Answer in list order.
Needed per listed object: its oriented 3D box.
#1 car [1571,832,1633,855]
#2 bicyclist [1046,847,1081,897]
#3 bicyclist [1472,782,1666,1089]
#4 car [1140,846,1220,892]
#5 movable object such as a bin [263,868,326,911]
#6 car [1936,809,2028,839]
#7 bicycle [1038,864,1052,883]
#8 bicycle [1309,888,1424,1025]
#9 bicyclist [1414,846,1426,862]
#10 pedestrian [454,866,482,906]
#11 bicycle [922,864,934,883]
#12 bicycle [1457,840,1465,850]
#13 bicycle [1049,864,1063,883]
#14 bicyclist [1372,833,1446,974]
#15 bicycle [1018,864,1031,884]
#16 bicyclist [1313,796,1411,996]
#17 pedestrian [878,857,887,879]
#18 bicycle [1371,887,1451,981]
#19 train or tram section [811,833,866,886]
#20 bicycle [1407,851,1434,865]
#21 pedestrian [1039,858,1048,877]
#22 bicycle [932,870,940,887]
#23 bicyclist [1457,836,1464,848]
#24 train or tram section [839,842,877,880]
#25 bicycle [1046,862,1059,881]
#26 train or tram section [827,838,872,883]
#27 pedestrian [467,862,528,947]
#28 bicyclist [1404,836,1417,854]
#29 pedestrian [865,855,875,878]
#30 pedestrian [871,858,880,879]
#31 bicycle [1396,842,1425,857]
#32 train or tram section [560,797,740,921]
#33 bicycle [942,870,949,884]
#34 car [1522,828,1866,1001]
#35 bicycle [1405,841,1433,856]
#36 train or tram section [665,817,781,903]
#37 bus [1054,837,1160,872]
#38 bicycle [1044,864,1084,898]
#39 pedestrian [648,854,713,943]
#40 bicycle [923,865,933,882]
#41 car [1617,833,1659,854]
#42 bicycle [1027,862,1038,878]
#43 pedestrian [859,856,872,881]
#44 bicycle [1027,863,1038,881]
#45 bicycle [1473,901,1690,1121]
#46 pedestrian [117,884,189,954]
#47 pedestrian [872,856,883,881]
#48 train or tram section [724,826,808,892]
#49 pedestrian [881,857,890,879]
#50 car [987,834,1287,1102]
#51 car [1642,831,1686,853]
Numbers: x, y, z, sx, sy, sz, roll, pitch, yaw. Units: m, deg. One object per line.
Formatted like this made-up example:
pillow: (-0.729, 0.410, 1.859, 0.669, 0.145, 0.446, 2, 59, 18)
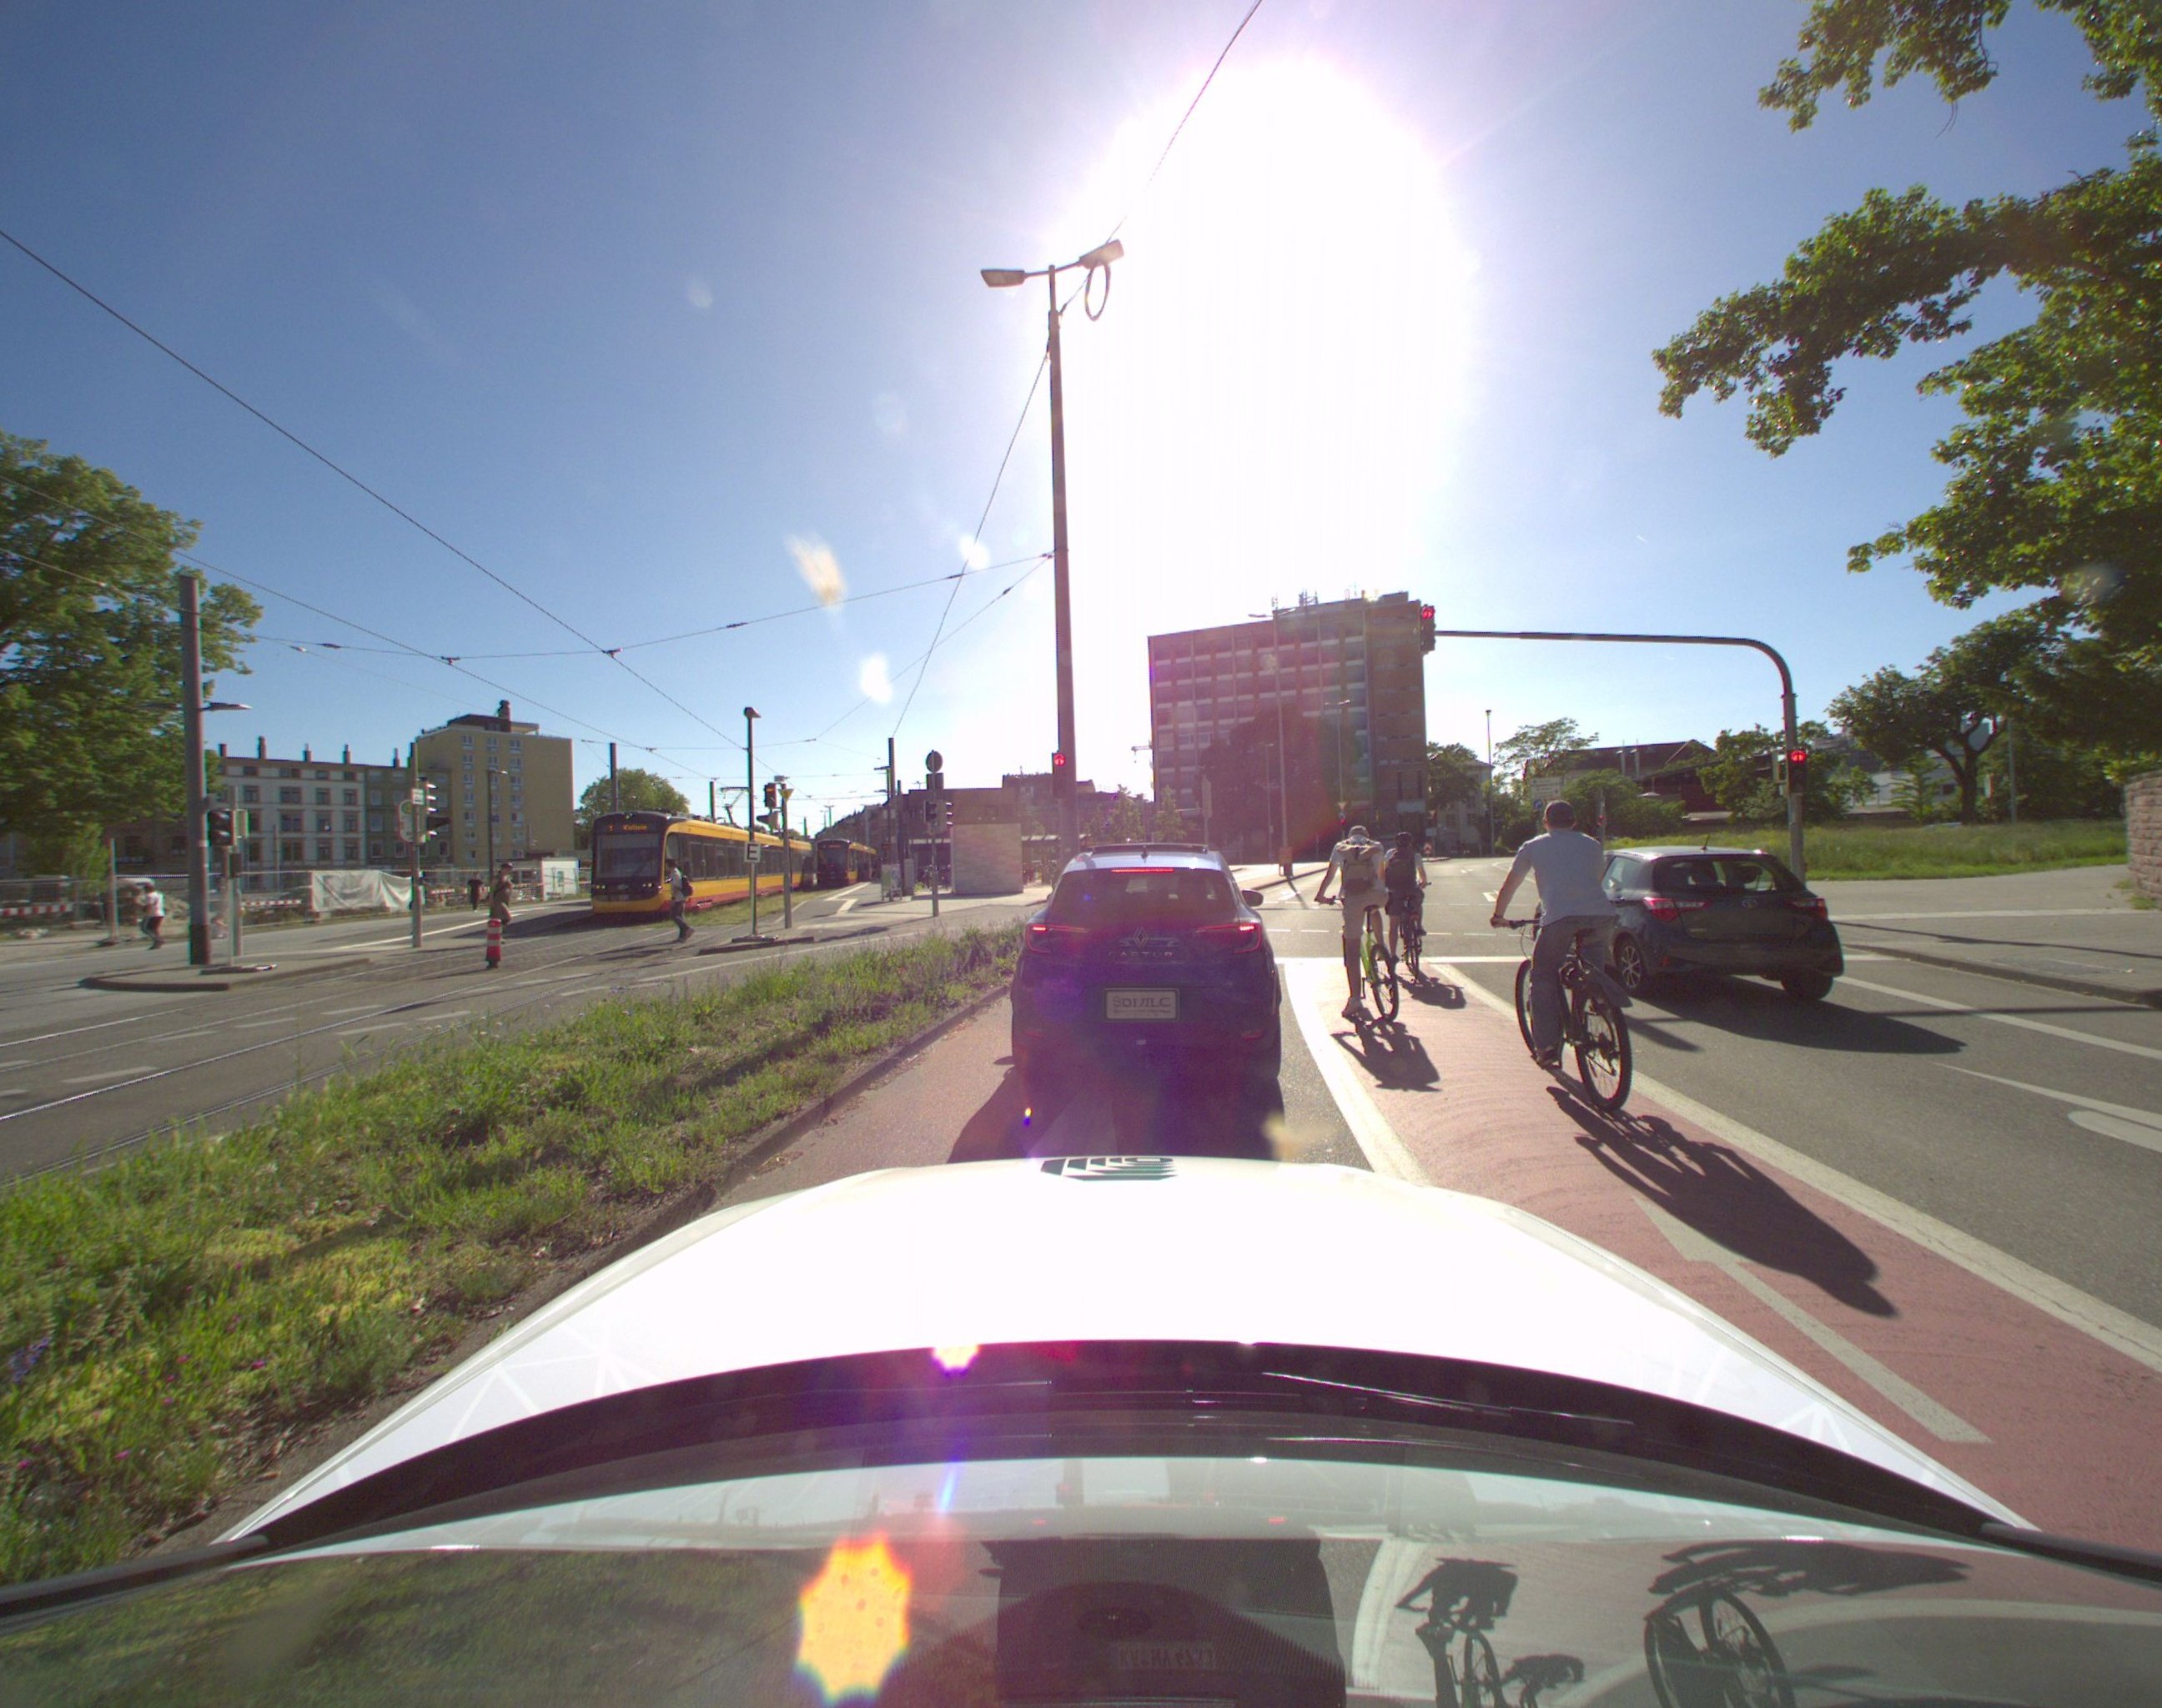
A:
car: (43.590, -0.861, 68.239, 4.195, 1.568, 1.835, -4, -1, 30)
bicyclist: (-0.592, 0.621, 28.274, 0.873, 1.644, 1.065, -3, -1, 16)
bicyclist: (3.100, 0.480, 5.291, 0.744, 1.776, 1.017, -2, -1, 12)
car: (3.744, 0.514, 30.201, 1.784, 1.393, 4.116, -2, 1, 23)
movable object such as a bin: (-53.466, 2.397, 55.360, 3.950, 2.796, 1.844, -2, -2, 26)
car: (68.927, -2.249, 62.406, 4.305, 2.014, 2.013, -2, -2, 33)
bicycle: (-1.940, 1.043, 43.224, 0.580, 0.961, 2.053, -1, -1, -7)
bicycle: (2.628, 0.893, 7.693, 0.659, 1.047, 1.895, -2, 0, 9)
bicyclist: (38.519, -0.023, 92.476, 1.148, 1.797, 0.887, -1, -2, 15)
pedestrian: (-27.794, 1.423, 36.931, 0.668, 1.767, 0.796, -2, 0, -13)
bicycle: (-8.669, 1.106, 46.262, 0.565, 1.093, 2.023, -1, -1, -9)
bicycle: (46.416, -1.099, 99.455, 0.603, 1.093, 1.682, -3, 0, 32)
bicycle: (-1.327, 1.034, 43.297, 0.580, 0.961, 2.053, -1, -1, -7)
bicyclist: (3.996, 0.570, 9.986, 0.716, 1.626, 1.059, -1, 0, 16)
bicycle: (-2.969, 1.053, 42.873, 0.580, 1.058, 1.812, -1, -1, -7)
bicyclist: (2.611, 0.374, 7.663, 0.660, 1.747, 1.008, -2, 0, 9)
pedestrian: (-17.123, 1.238, 70.240, 0.634, 1.857, 0.699, 0, -2, -17)
bicycle: (4.036, 0.934, 10.082, 0.717, 0.960, 1.892, -1, 0, 16)
train or tram section: (-17.605, 0.436, 59.720, 2.873, 3.508, 10.499, -1, 0, -12)
bicycle: (38.523, 0.416, 92.472, 2.781, 1.541, 0.887, -1, -2, 14)
pedestrian: (-3.720, 1.316, 80.218, 0.721, 1.857, 0.705, -1, -2, 10)
bicycle: (-8.539, 1.441, 47.976, 0.422, 0.938, 1.300, 0, -1, -13)
bicyclist: (46.353, -1.440, 99.391, 0.612, 1.444, 0.824, -2, 0, 32)
train or tram section: (-21.887, 0.675, 80.319, 2.873, 3.508, 10.499, -1, 0, -12)
bicycle: (-1.719, 1.059, 48.953, 0.580, 1.088, 2.053, -1, -1, -7)
train or tram section: (-19.774, 0.589, 70.044, 2.873, 3.508, 10.499, -1, 0, -12)
pedestrian: (-13.448, 1.130, 18.799, 0.902, 1.850, 0.759, -2, 2, -20)
bicyclist: (35.637, -0.920, 88.161, 1.195, 1.897, 0.889, -2, -2, 27)
pedestrian: (-17.020, 1.031, 65.826, 0.673, 1.857, 0.701, -1, -2, -7)
pedestrian: (-18.269, 1.261, 72.457, 0.631, 1.857, 0.701, -1, -2, -7)
bicycle: (35.641, -0.484, 88.165, 2.775, 1.541, 0.889, -2, -2, 27)
train or tram section: (-14.694, 0.178, 28.870, 2.820, 3.508, 10.433, -2, 0, -12)
bicycle: (-8.815, 1.488, 53.008, 0.421, 0.938, 1.374, 0, -1, -9)
car: (6.555, 0.558, 9.257, 1.744, 1.541, 3.671, -1, 0, 13)
bicycle: (37.645, -0.569, 90.732, 2.775, 1.541, 0.889, -2, -2, 27)
train or tram section: (-16.793, 0.276, 39.084, 2.818, 3.508, 10.569, -1, 0, -11)
bus: (2.612, 0.164, 87.003, 12.287, 3.396, 2.900, -2, -2, 42)
bicycle: (-0.573, 0.904, 28.230, 0.767, 1.080, 2.044, -3, -1, 16)
pedestrian: (-8.686, 0.950, 17.702, 1.018, 1.832, 0.757, -4, -1, -14)
bicycle: (-9.857, 1.274, 52.602, 0.565, 1.093, 2.023, -1, -1, -9)
car: (54.141, -1.029, 79.147, 3.873, 1.935, 1.889, 0, -2, -30)
bicycle: (-3.359, 1.141, 56.400, 0.580, 1.088, 1.865, -1, -1, -9)
pedestrian: (-16.064, 1.095, 60.750, 0.848, 1.883, 0.757, -1, -2, -14)
bicycle: (-2.927, 1.079, 48.911, 0.580, 1.088, 2.053, -1, -1, -7)
bicycle: (3.158, 0.907, 5.348, 0.607, 1.077, 1.836, -2, 0, 12)
pedestrian: (-24.924, 1.708, 21.888, 0.975, 1.767, 0.857, -2, 0, -27)
pedestrian: (-15.600, 1.126, 62.429, 0.848, 1.883, 0.757, -1, -2, -14)
train or tram section: (-18.897, 0.315, 49.688, 2.818, 3.508, 11.166, -1, 0, -11)
pedestrian: (-17.180, 1.220, 71.532, 0.632, 1.857, 0.700, -1, -2, -9)
car: (0.566, 0.688, 6.791, 1.813, 1.600, 3.666, -1, 0, 8)
car: (55.150, -1.095, 77.062, 3.873, 1.935, 1.889, 0, -2, -30)
